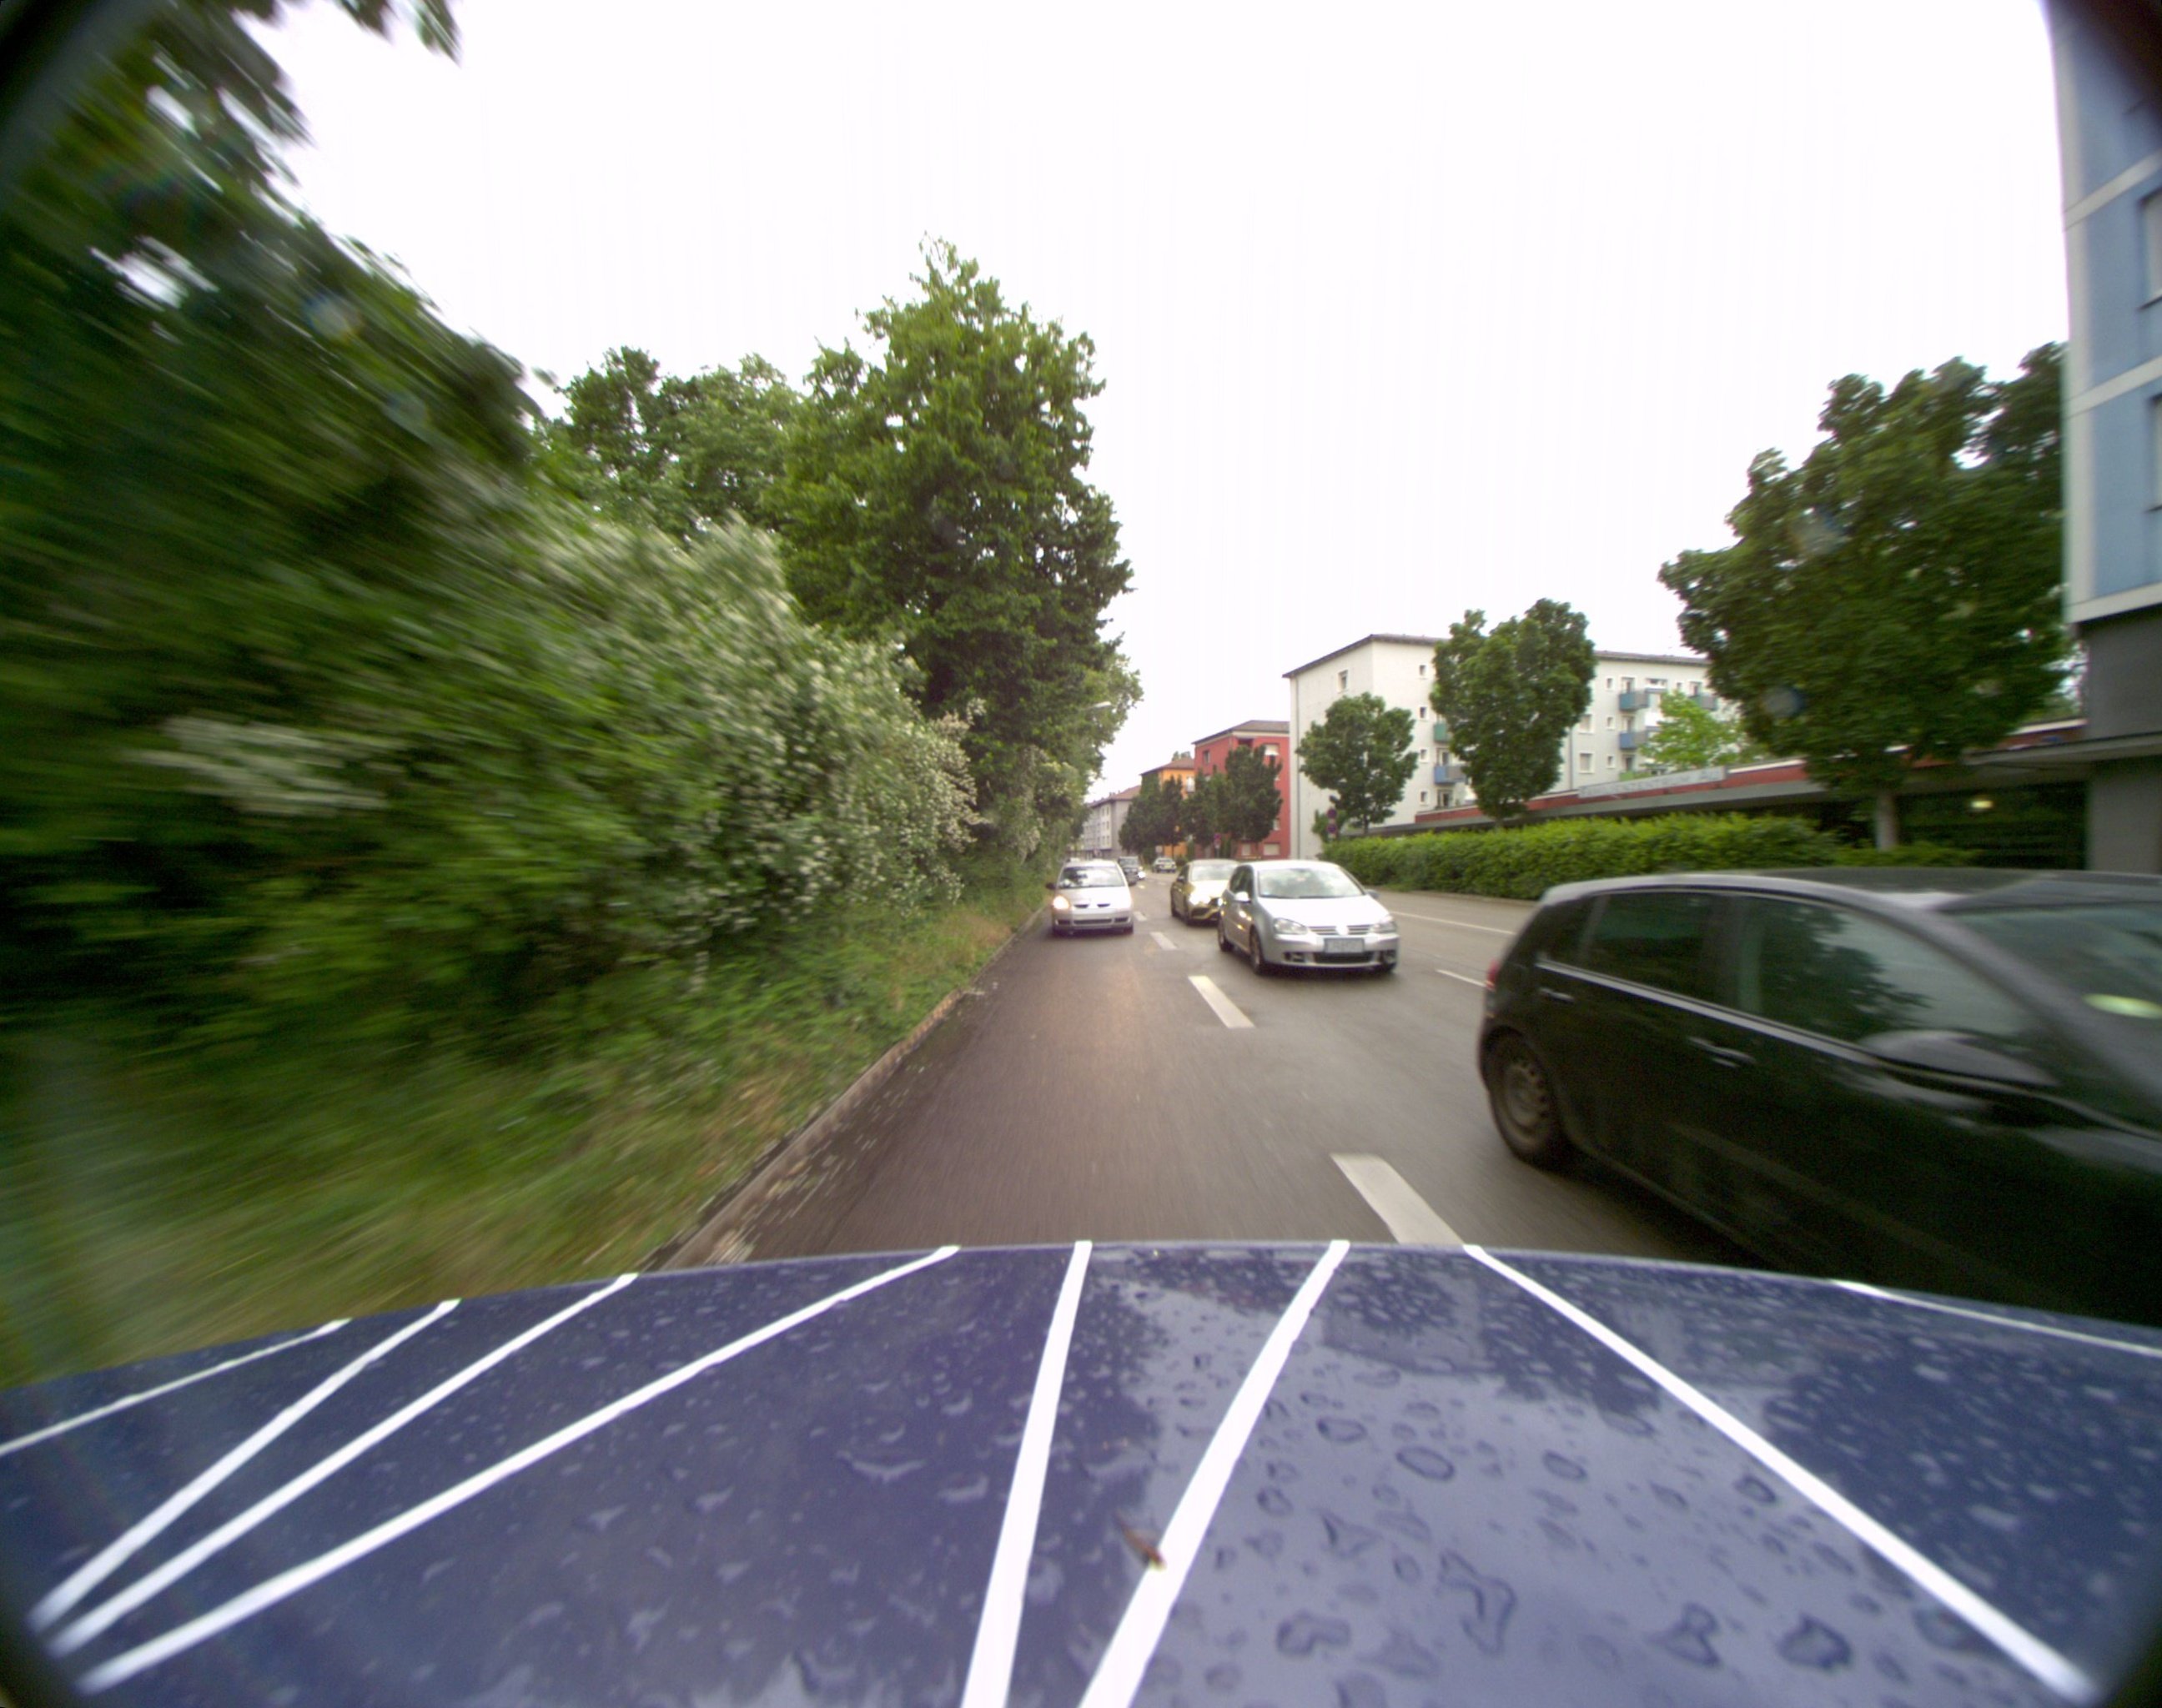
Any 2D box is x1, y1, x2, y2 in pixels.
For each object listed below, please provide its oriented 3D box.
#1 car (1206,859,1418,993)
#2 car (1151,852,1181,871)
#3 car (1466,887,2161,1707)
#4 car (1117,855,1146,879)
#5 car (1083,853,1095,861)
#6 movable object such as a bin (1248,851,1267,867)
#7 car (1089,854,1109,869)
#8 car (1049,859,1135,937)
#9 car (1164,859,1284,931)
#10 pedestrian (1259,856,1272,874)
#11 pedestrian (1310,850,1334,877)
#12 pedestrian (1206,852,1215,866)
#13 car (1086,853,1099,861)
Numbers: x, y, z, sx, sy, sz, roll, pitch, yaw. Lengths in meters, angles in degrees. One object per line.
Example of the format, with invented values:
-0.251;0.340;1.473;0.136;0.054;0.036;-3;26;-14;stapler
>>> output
2.966;0.834;10.719;1.748;1.478;4.161;0;0;0;car
8.436;0.730;75.733;1.999;1.739;4.805;-1;0;-5;car
2.877;0.892;1.968;1.760;1.444;4.000;-1;0;1;car
3.435;0.860;52.414;1.735;1.590;4.000;-1;1;1;car
1.616;0.620;161.394;1.728;1.472;4.311;1;0;-11;car
16.995;0.450;73.286;1.219;1.476;2.086;0;0;-6;movable object such as a bin
2.255;0.935;96.587;2.000;1.815;3.997;-3;1;-7;car
0.232;0.925;17.685;1.755;1.586;4.169;-1;0;0;car
3.246;0.873;18.172;2.071;1.455;4.586;-1;0;1;car
15.528;0.952;64.095;0.694;1.508;1.069;0;0;-9;pedestrian
16.325;0.666;51.501;1.137;1.793;1.262;0;0;-3;pedestrian
14.123;0.558;82.844;0.673;1.441;0.835;0;0;-9;pedestrian
2.420;0.661;156.593;1.853;1.536;4.243;-3;1;-10;car
